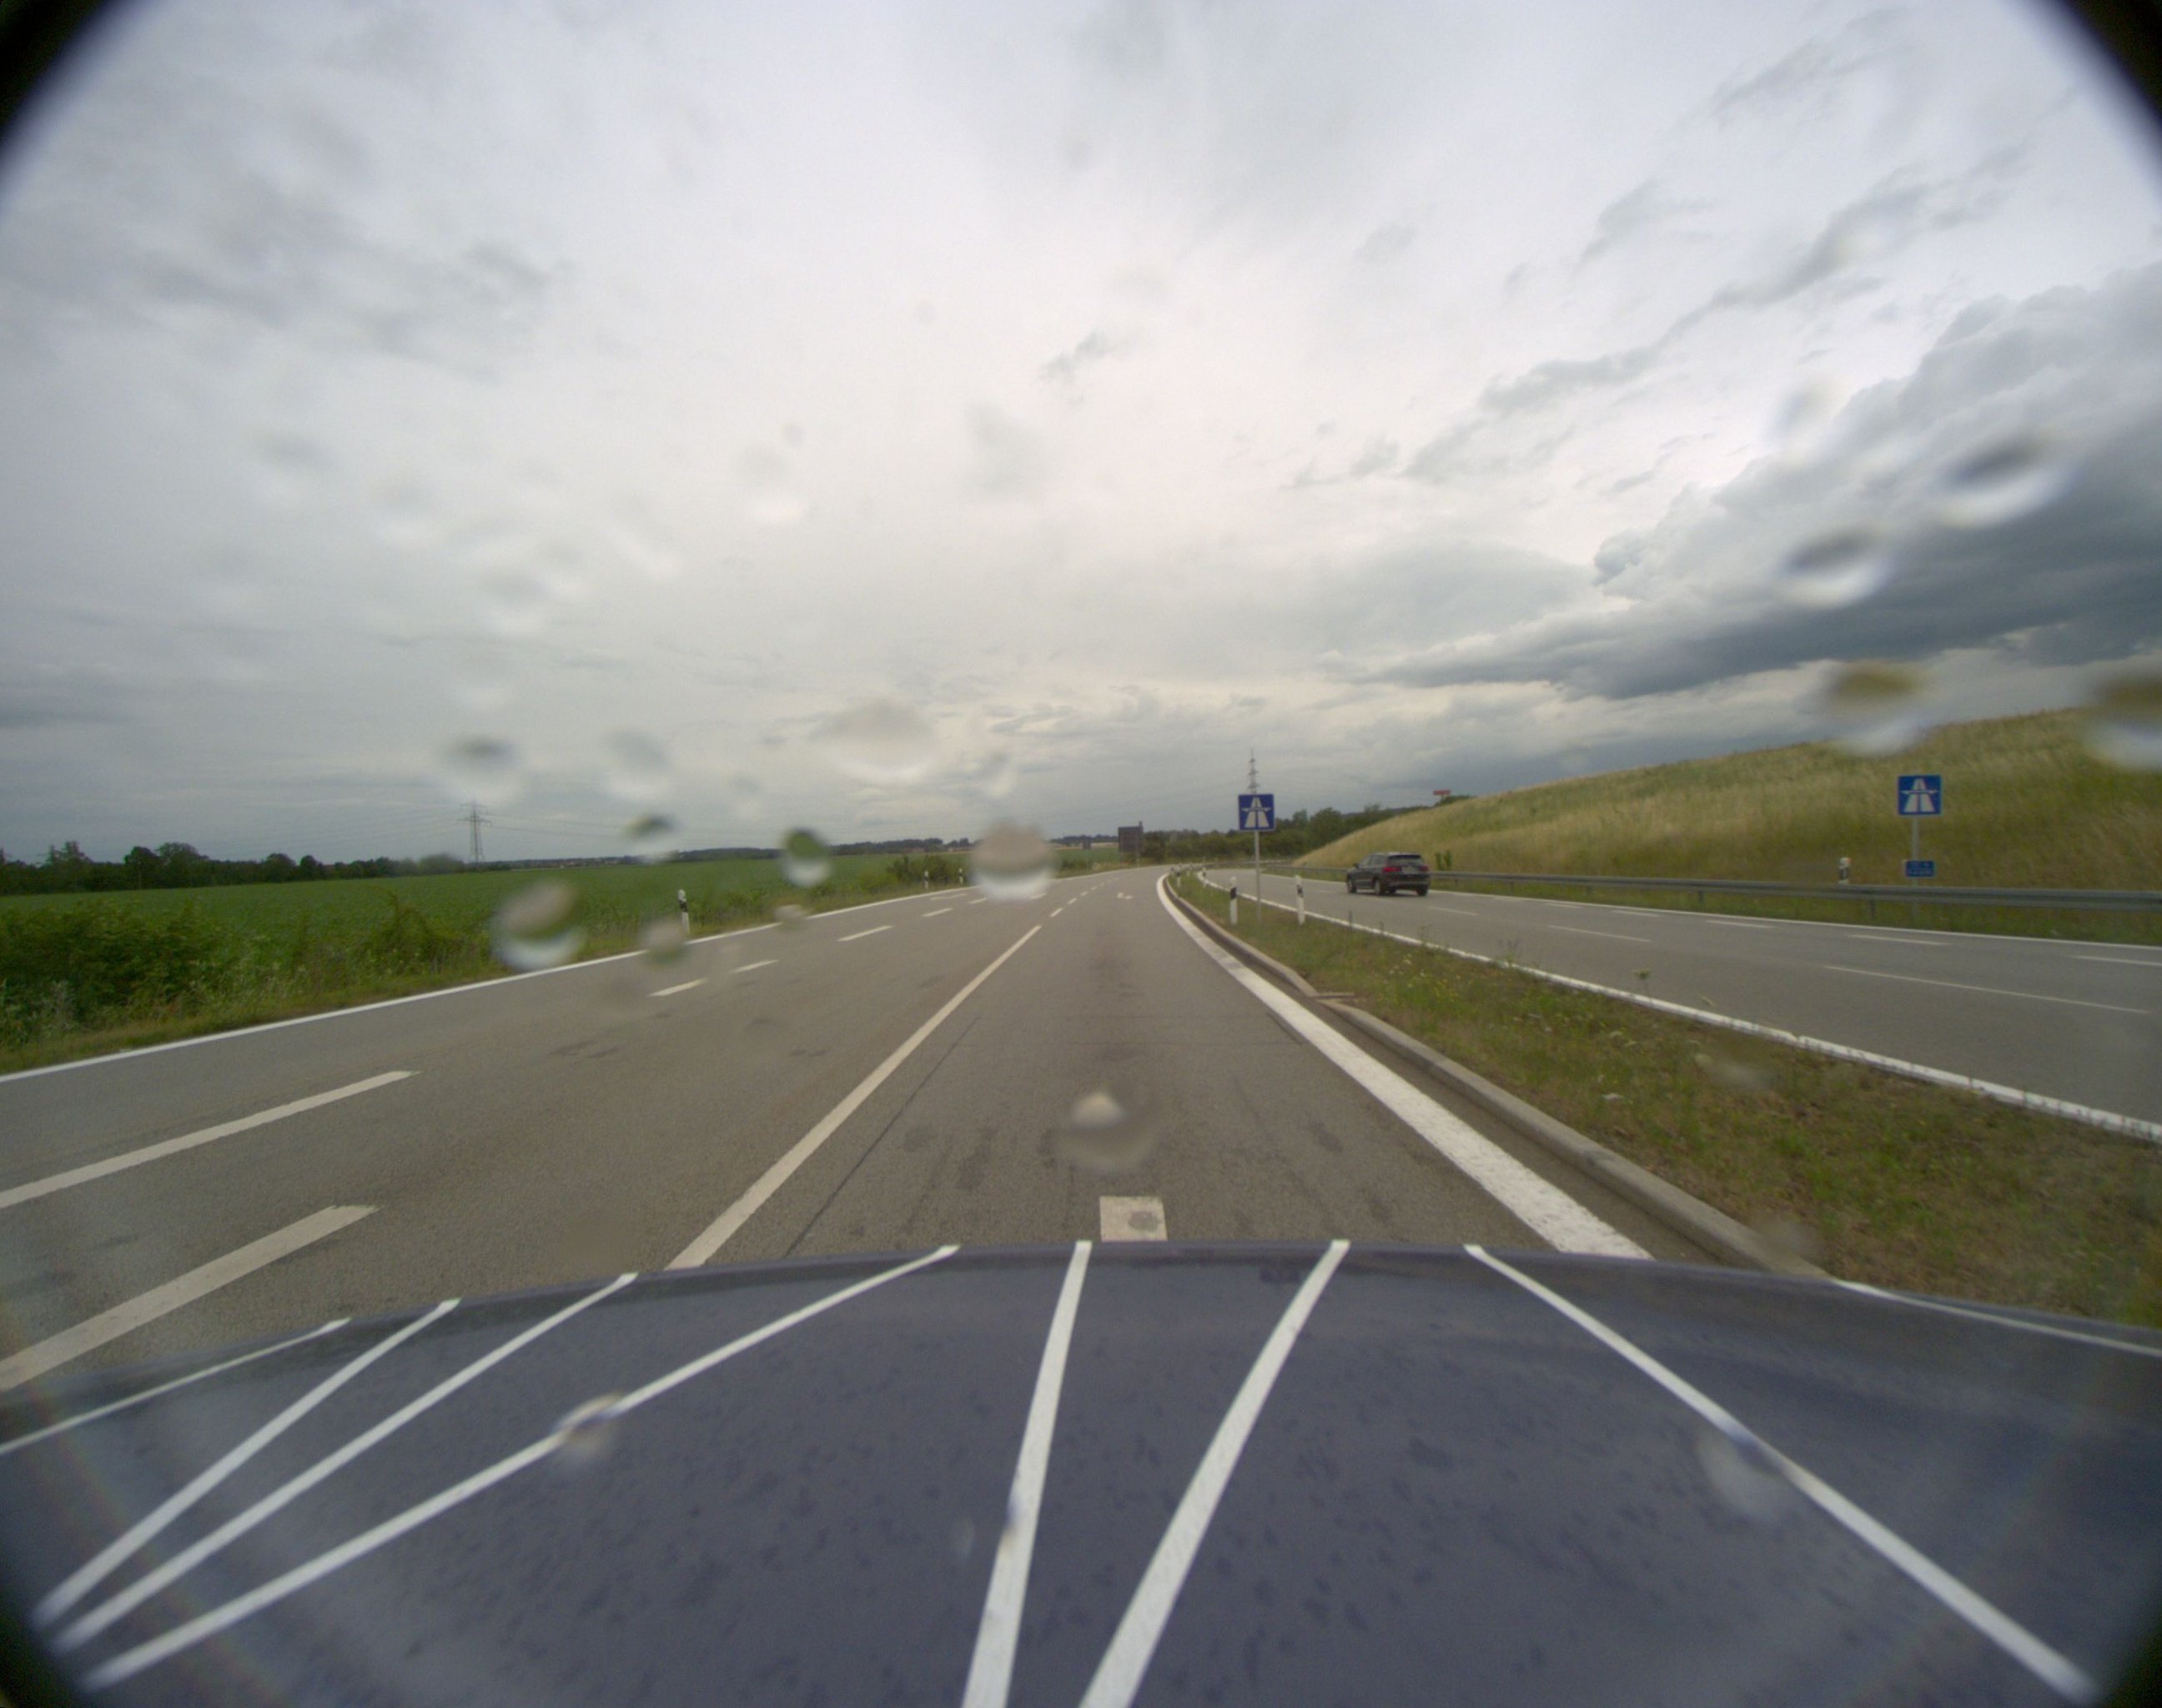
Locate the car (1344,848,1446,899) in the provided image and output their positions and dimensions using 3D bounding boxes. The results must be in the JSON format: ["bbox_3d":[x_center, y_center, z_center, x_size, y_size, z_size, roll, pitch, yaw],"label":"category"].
[{"bbox_3d":[11.562,0.654,28.305,1.999,1.674,4.113,-2,1,-1],"label":"car"}]
